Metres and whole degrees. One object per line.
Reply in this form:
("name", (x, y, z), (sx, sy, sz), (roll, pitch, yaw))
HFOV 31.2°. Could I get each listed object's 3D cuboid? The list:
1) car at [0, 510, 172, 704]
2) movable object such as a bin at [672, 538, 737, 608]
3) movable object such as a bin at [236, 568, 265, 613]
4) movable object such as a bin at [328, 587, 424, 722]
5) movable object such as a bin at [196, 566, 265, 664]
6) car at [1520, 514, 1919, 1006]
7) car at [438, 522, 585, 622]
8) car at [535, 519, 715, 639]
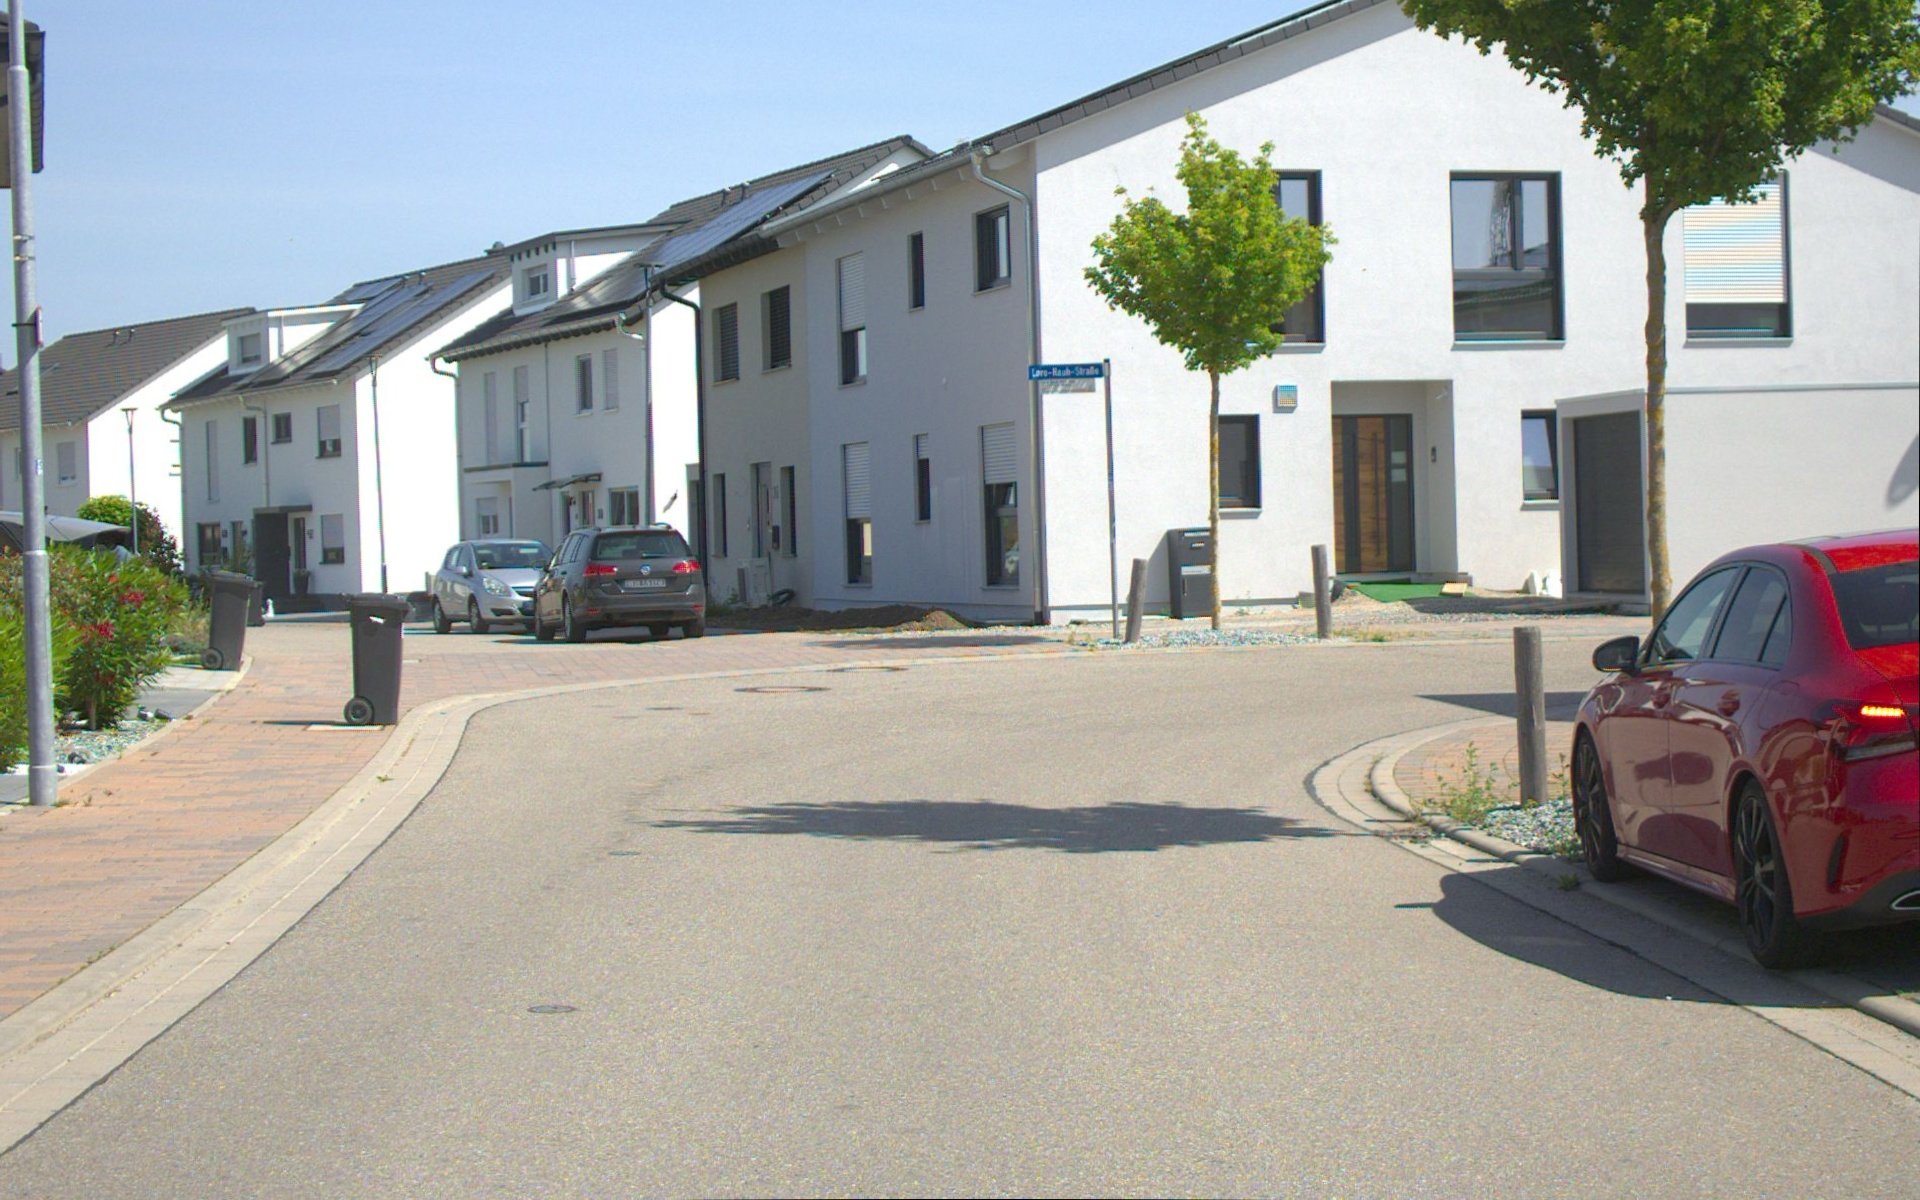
("car", (-8.472, 0.057, 27.345), (3.987, 1.481, 1.754), (-1, 1, 0))
("movable object such as a bin", (-4.030, -0.424, 54.160), (0.784, 1.046, 0.804), (-4, 2, -18))
("movable object such as a bin", (-15.026, -0.206, 72.803), (0.557, 0.945, 0.247), (-2, 1, -20))
("movable object such as a bin", (-4.151, 0.382, 24.455), (0.535, 0.932, 0.526), (1, 1, 7))
("movable object such as a bin", (-6.985, 0.140, 32.921), (0.614, 0.924, 0.423), (1, 0, -12))
("car", (3.391, 0.429, 12.707), (1.762, 1.433, 4.520), (-3, 1, -1))
("car", (-7.054, -0.450, 53.808), (1.676, 1.459, 3.946), (-2, 1, -16))
("car", (-4.349, -0.289, 44.133), (1.726, 1.418, 4.001), (-2, 1, -13))
